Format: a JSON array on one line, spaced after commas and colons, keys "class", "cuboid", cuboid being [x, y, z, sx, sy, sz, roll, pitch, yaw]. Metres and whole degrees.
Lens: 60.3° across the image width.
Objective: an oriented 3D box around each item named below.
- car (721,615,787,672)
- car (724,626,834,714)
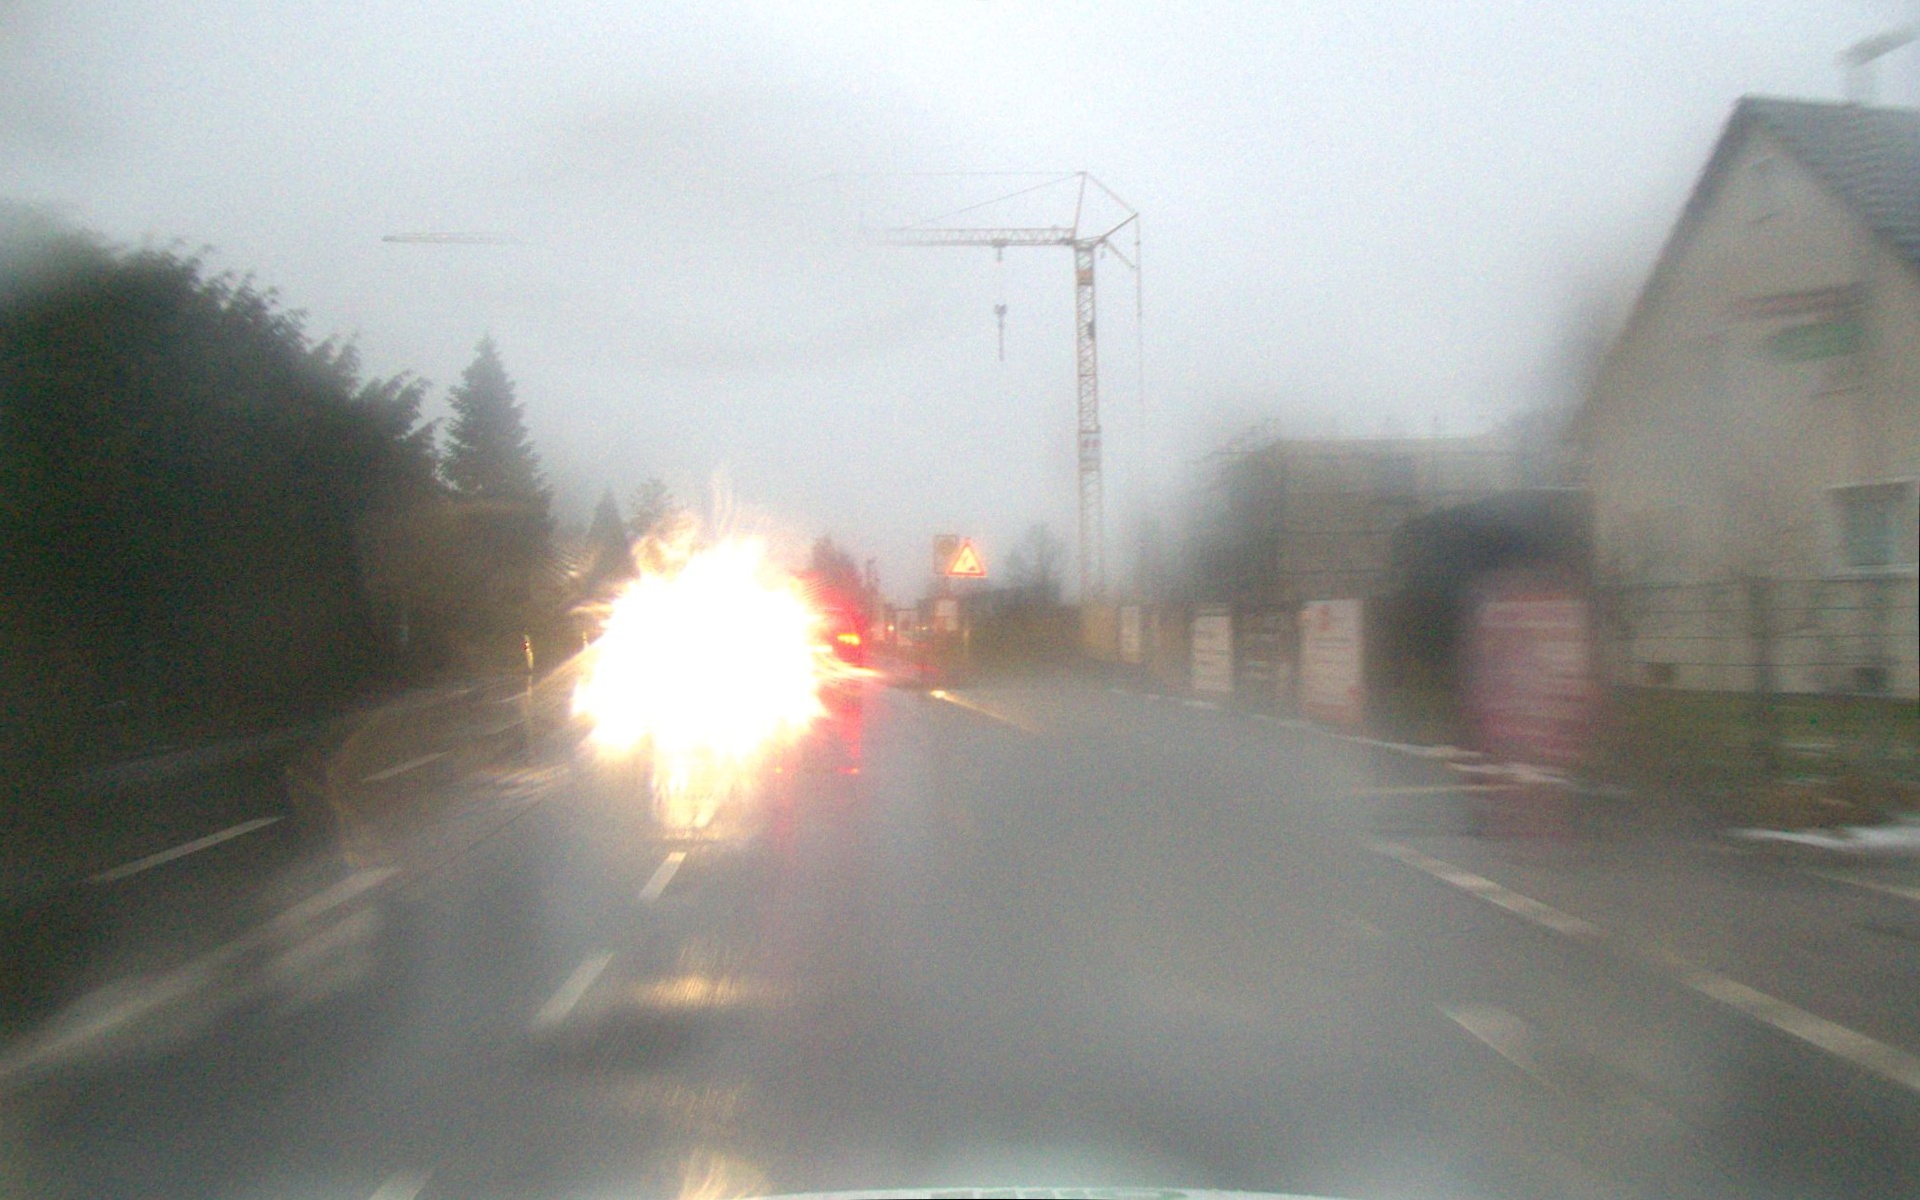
[{"class": "car", "cuboid": [-7.445, 1.546, 59.469, 1.959, 1.915, 3.987, -2, -1, -13]}, {"class": "car", "cuboid": [-3.727, 1.374, 33.372, 2.009, 1.600, 4.693, -1, -2, -9]}]
